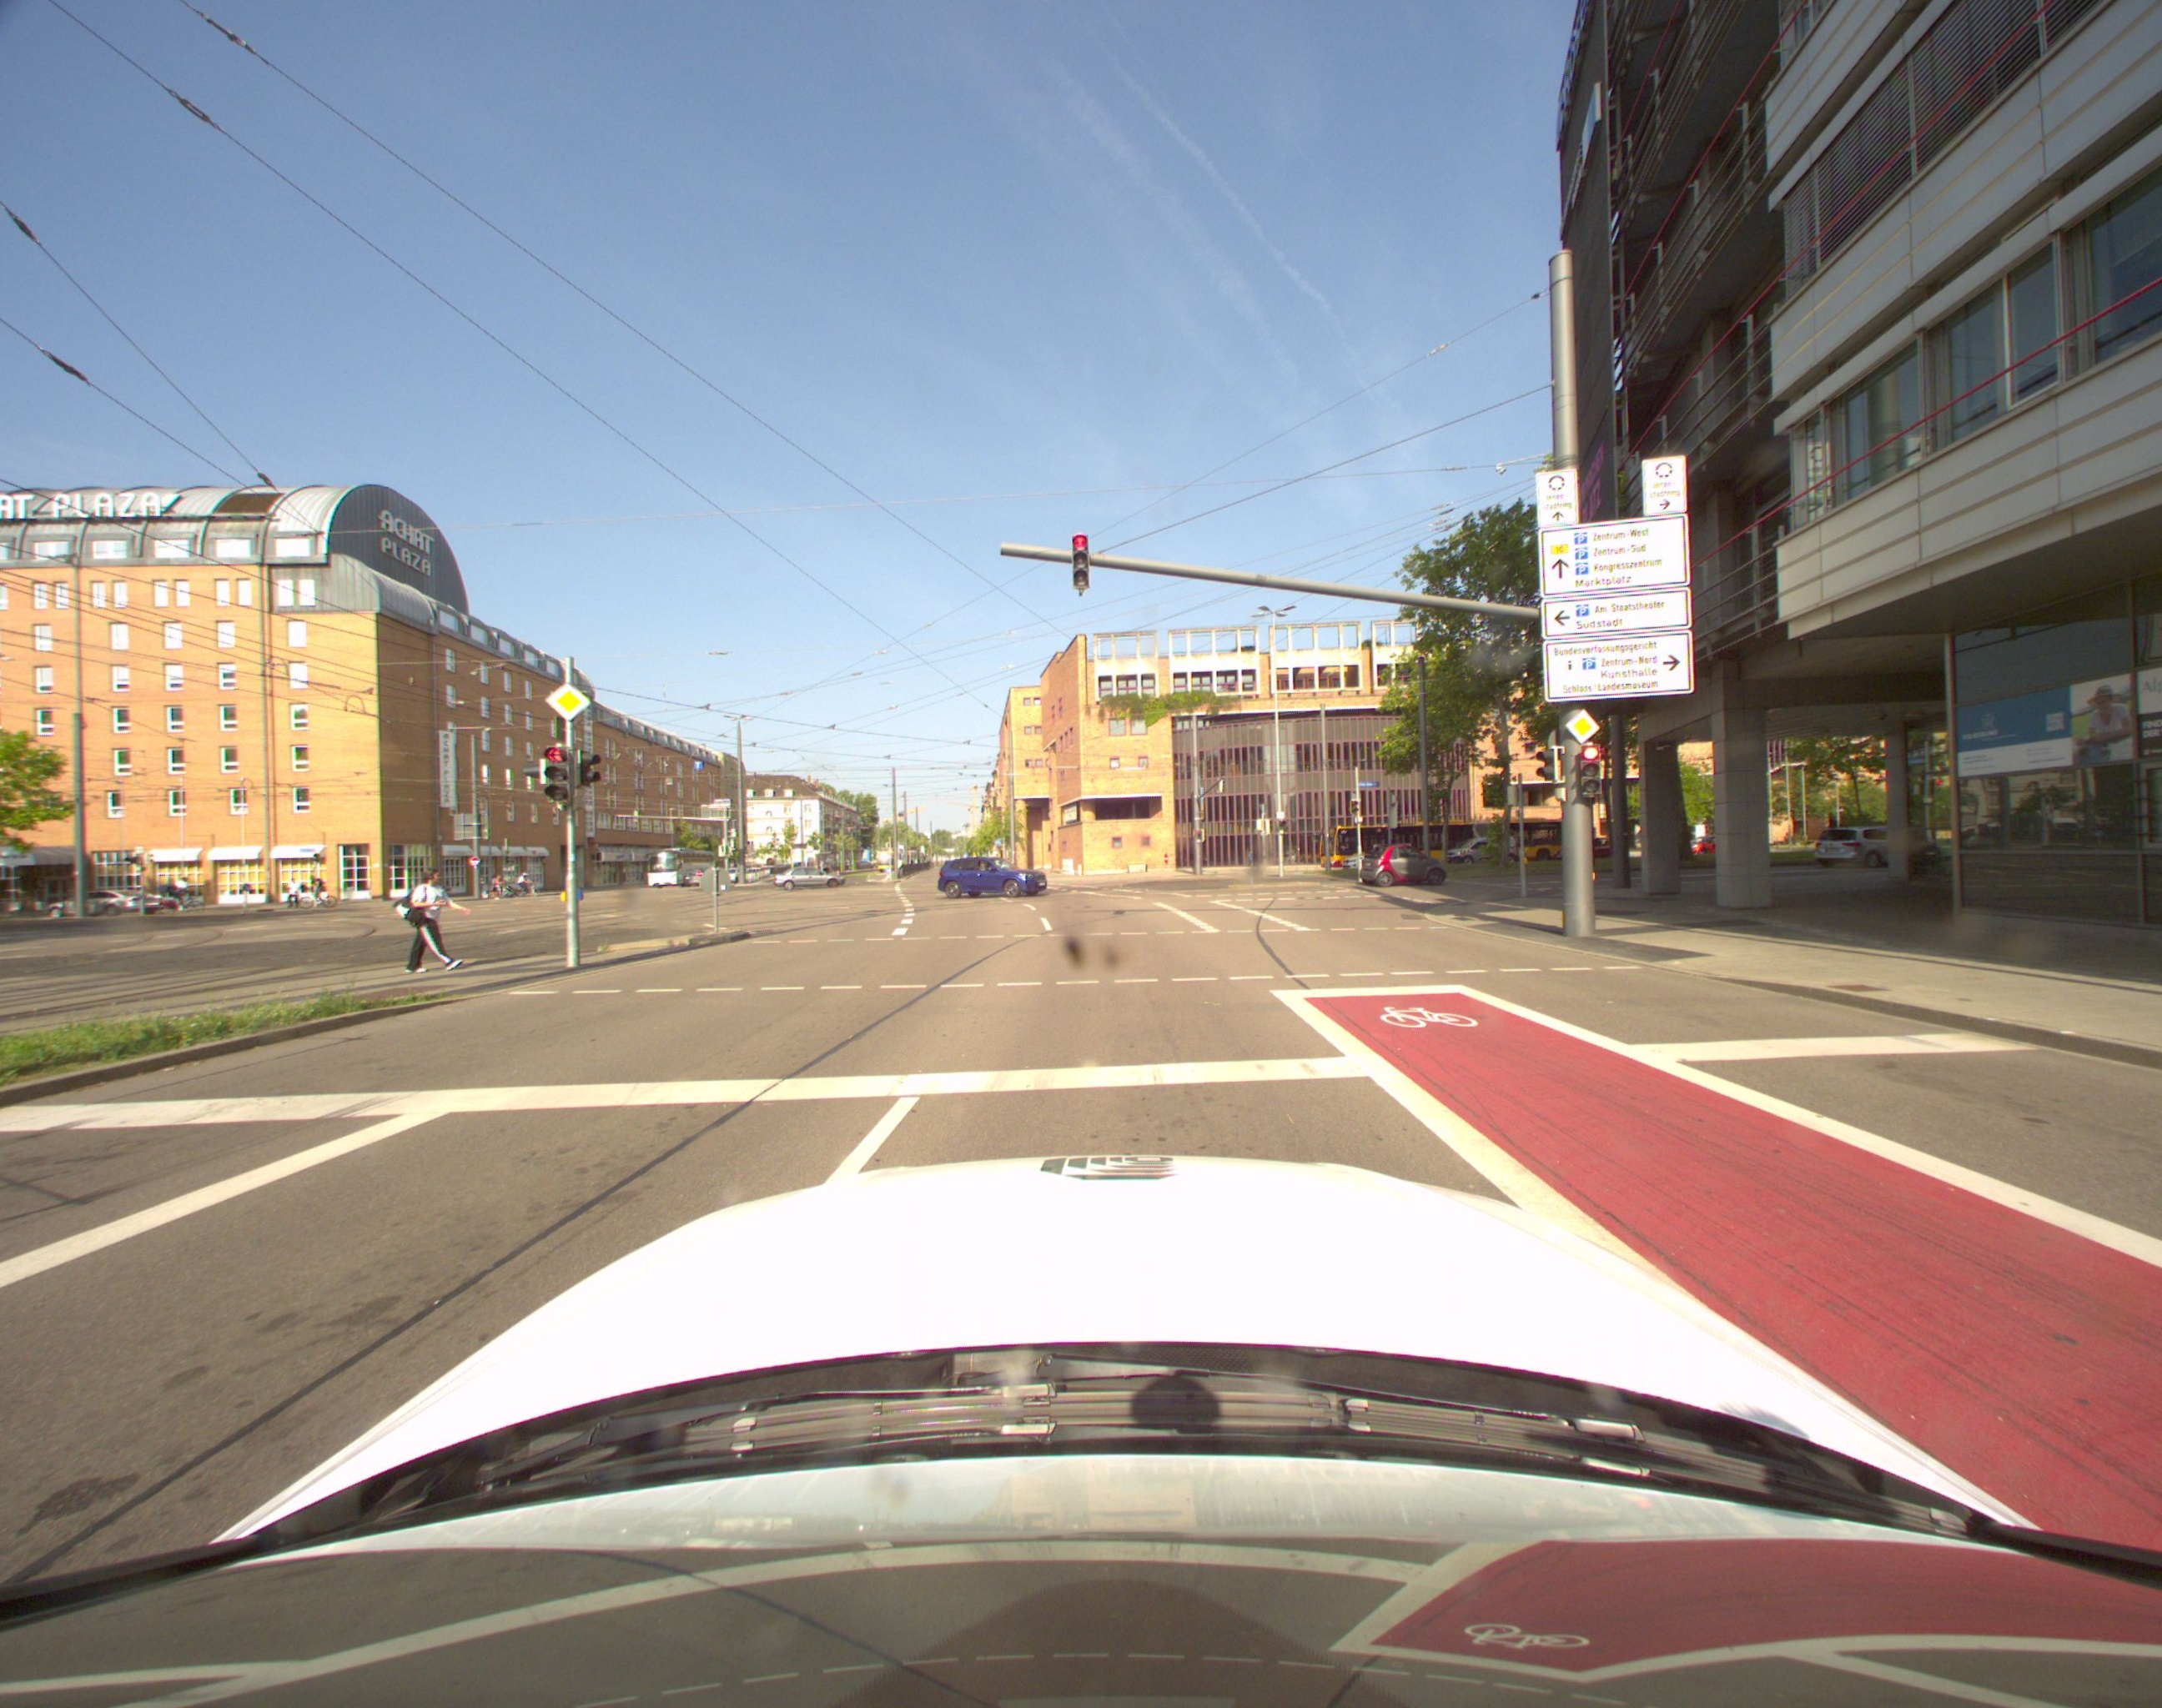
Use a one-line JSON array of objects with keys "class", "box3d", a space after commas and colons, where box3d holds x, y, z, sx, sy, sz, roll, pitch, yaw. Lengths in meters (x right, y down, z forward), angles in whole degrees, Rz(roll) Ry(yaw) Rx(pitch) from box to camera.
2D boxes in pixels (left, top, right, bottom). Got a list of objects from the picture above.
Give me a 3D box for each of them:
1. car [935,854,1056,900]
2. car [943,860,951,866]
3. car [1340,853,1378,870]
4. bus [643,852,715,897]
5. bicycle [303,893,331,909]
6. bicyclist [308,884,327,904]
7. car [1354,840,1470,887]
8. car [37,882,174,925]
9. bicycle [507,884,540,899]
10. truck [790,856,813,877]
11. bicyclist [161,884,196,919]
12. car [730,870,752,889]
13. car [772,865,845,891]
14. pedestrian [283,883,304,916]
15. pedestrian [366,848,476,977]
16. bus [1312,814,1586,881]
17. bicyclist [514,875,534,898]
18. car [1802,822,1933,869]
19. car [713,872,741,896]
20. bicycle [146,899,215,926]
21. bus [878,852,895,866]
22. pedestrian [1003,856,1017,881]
[{"class": "car", "box3d": [-3.416, 0.937, 32.595, 4.359, 1.636, 2.003, -3, -2, 24]}, {"class": "car", "box3d": [-37.896, 2.605, 229.846, 2.073, 1.542, 4.399, -2, -2, -9]}, {"class": "car", "box3d": [16.756, 0.430, 49.149, 1.944, 0.958, 1.094, -2, 0, 1]}, {"class": "bus", "box3d": [-38.800, 2.028, 79.160, 2.746, 3.921, 12.175, -2, -2, -9]}, {"class": "bicycle", "box3d": [-45.436, 2.790, 48.440, 0.345, 0.872, 1.398, -2, -2, 1]}, {"class": "bicyclist", "box3d": [-45.449, 2.390, 48.474, 0.520, 1.129, 0.610, -2, -2, 1]}, {"class": "car", "box3d": [12.110, 0.319, 29.909, 3.584, 1.492, 1.700, -2, 2, -4]}, {"class": "car", "box3d": [-52.647, 2.635, 44.050, 4.594, 2.013, 1.996, -2, 0, -6]}, {"class": "bicycle", "box3d": [-40.785, 2.742, 59.537, 1.962, 0.970, 0.418, -1, -2, -13]}, {"class": "truck", "box3d": [-36.952, 1.714, 107.797, 1.993, 2.599, 4.725, -2, -2, -9]}, {"class": "bicyclist", "box3d": [-45.419, 2.382, 40.983, 0.659, 1.747, 0.971, -2, -2, 17]}, {"class": "car", "box3d": [-32.940, 2.501, 78.933, 1.207, 1.760, 2.604, -2, -2, -5]}, {"class": "car", "box3d": [-17.029, 1.504, 51.036, 4.221, 1.487, 1.987, -1, -2, -20]}, {"class": "pedestrian", "box3d": [-48.041, 2.754, 49.703, 0.753, 1.953, 0.874, -2, 0, -36]}, {"class": "pedestrian", "box3d": [-10.797, 0.936, 13.347, 1.152, 2.014, 0.776, -2, -2, -1]}, {"class": "bus", "box3d": [24.325, -0.408, 53.979, 17.594, 3.811, 2.858, -2, -2, -7]}, {"class": "bicyclist", "box3d": [-40.738, 2.378, 59.561, 0.987, 1.696, 0.667, -1, -2, -13]}, {"class": "car", "box3d": [31.296, -0.356, 32.415, 4.384, 1.634, 1.682, -3, 1, -14]}, {"class": "car", "box3d": [-31.806, 2.706, 73.213, 1.601, 2.014, 2.722, -2, -2, -8]}, {"class": "bicycle", "box3d": [-45.363, 2.931, 41.069, 0.544, 1.206, 2.297, -2, -2, 17]}, {"class": "bus", "box3d": [-27.287, 0.700, 114.249, 1.994, 2.013, 3.985, -1, 0, -11]}, {"class": "pedestrian", "box3d": [-5.974, 1.218, 68.399, 0.834, 2.013, 0.814, -2, 0, 17]}]
